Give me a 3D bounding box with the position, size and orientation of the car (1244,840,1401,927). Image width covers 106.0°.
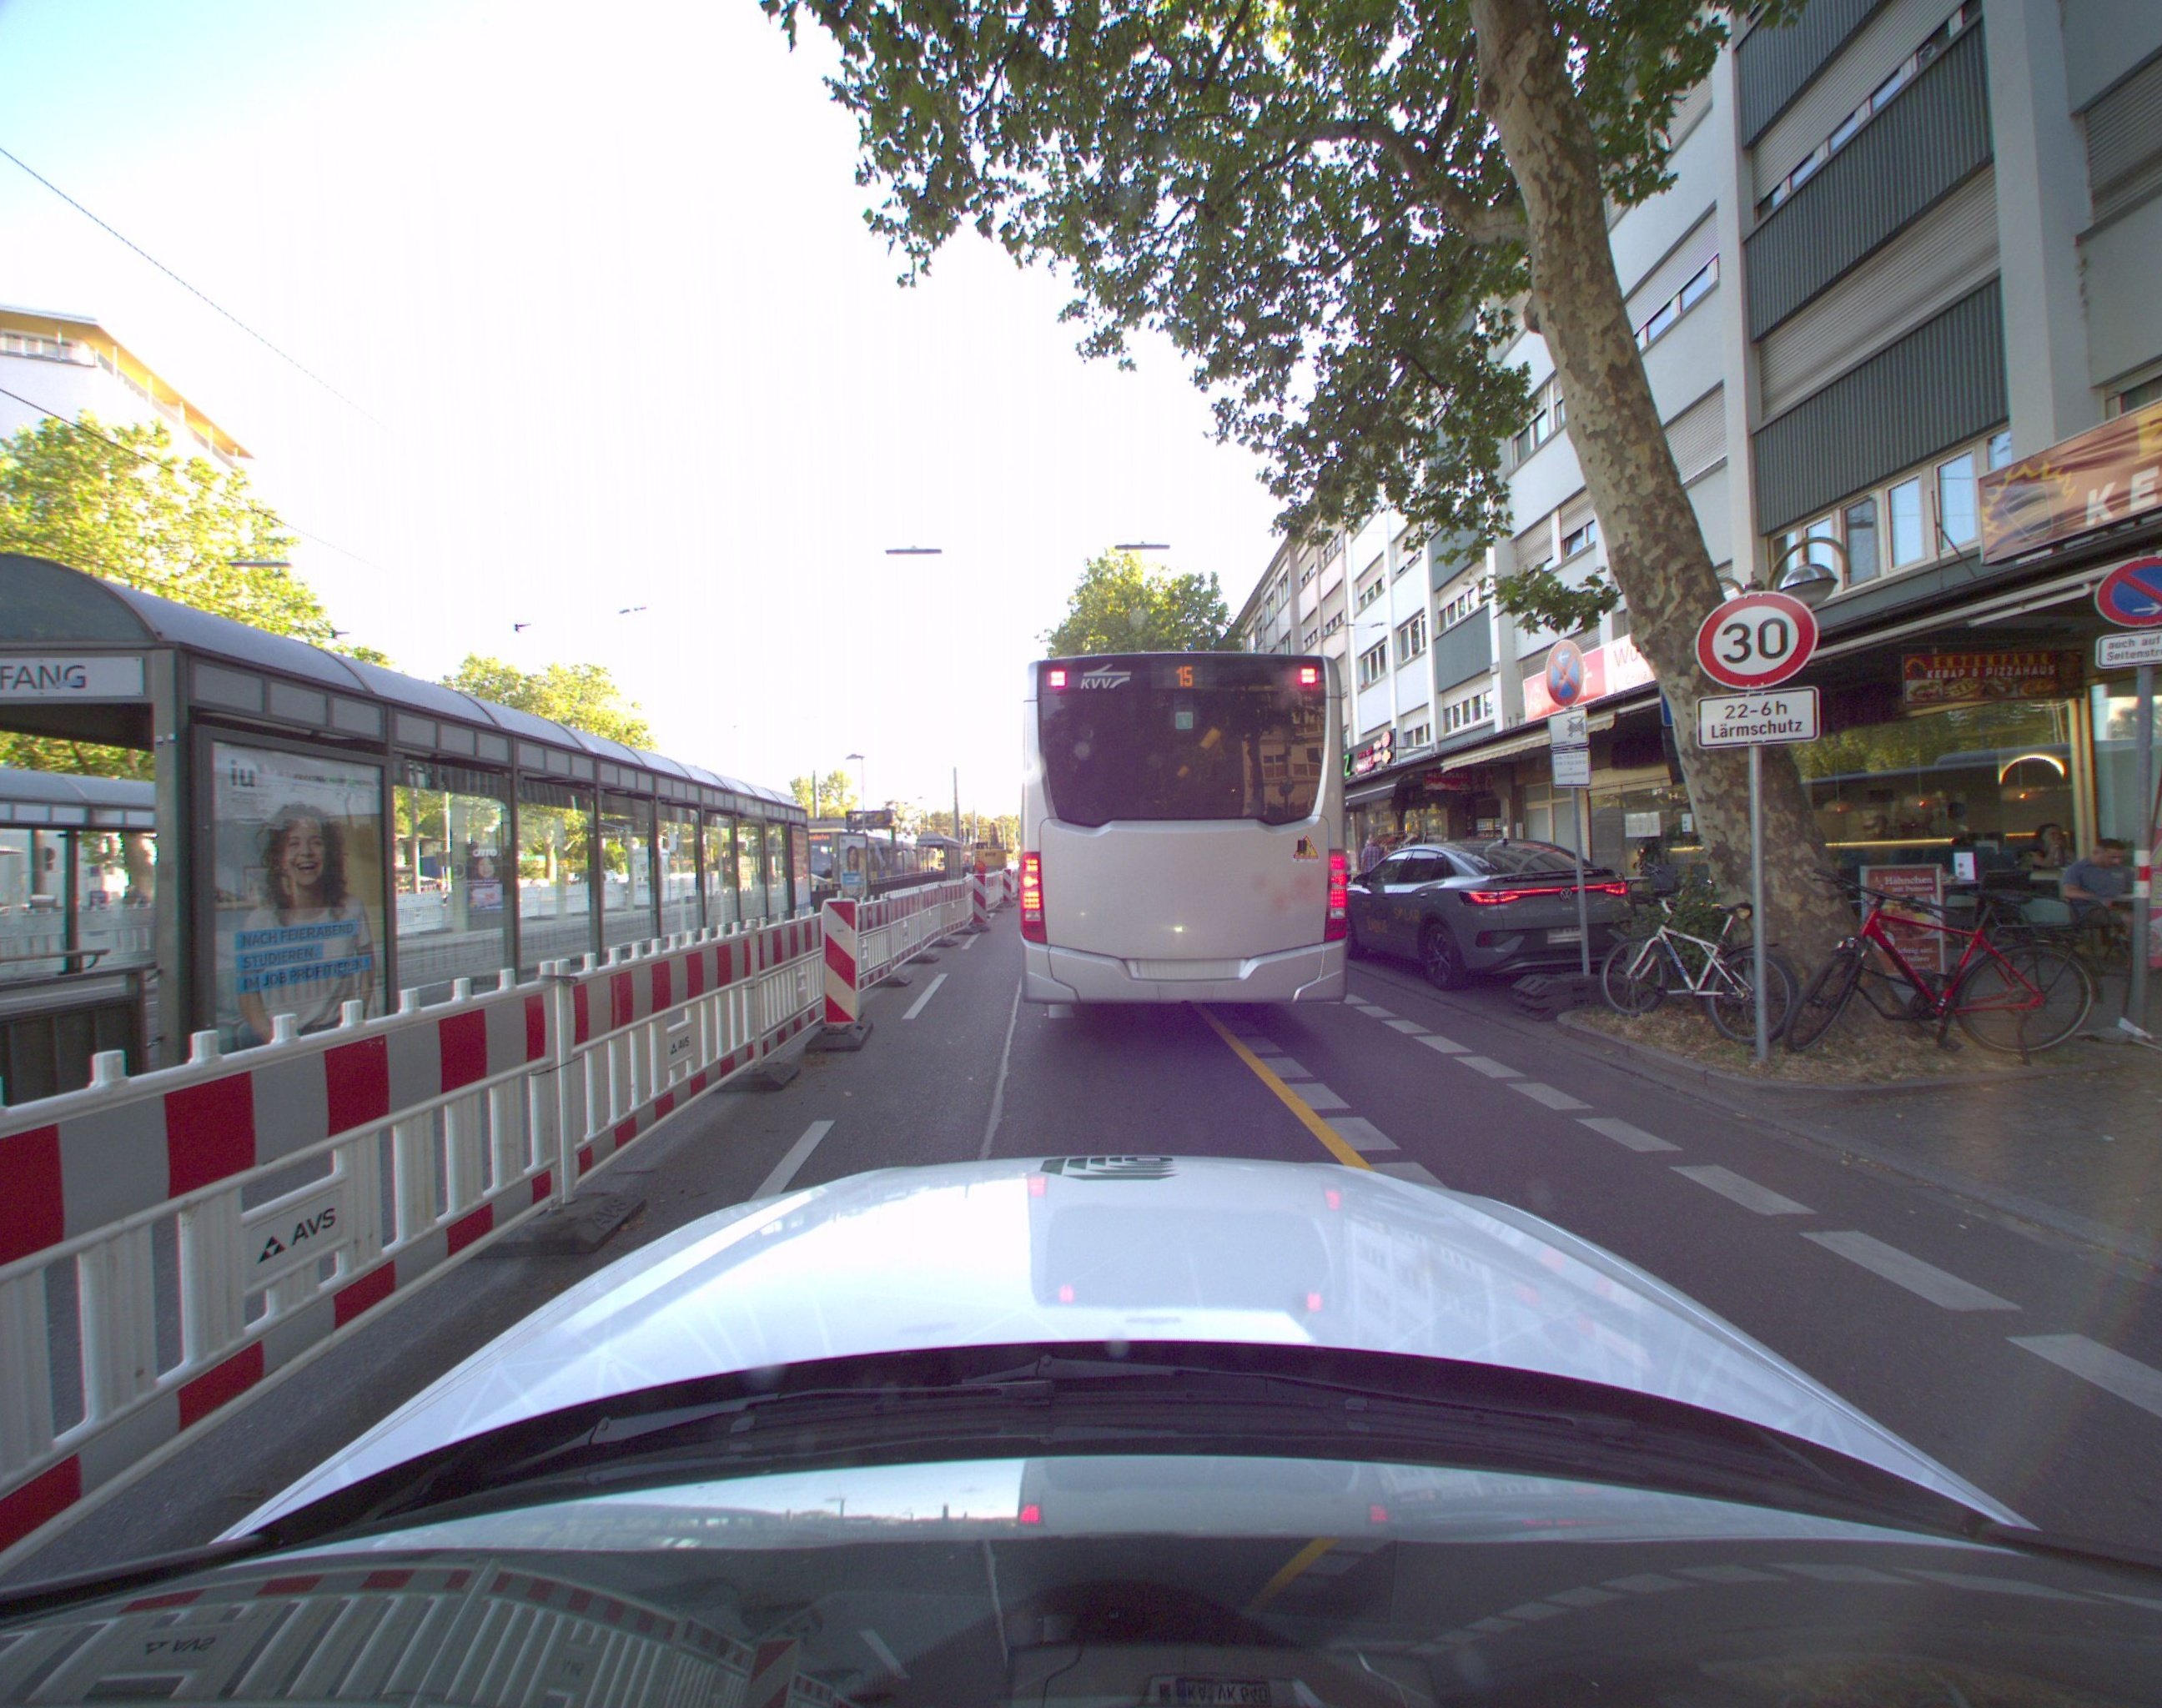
[{"bbox_3d":[5.248,0.583,18.400,1.989,1.582,4.364,-4,0,-3],"label":"car"}]

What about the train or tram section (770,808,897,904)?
[{"bbox_3d":[-10.541,0.112,36.162,2.681,3.534,11.756,0,-1,-3],"label":"train or tram section"}]

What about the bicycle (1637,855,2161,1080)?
[{"bbox_3d":[5.055,0.720,5.164,2.370,1.155,0.557,-7,-2,14],"label":"bicycle"}]

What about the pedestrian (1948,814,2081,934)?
[{"bbox_3d":[11.035,0.224,9.637,0.836,1.333,0.963,-2,-1,-39],"label":"pedestrian"}]

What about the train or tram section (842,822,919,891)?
[{"bbox_3d":[-11.479,0.163,47.781,2.682,3.558,11.559,0,-1,-5],"label":"train or tram section"}]

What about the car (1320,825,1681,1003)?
[{"bbox_3d":[4.738,0.574,10.102,1.989,1.582,4.364,-4,0,-3],"label":"car"}]

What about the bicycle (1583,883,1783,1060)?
[{"bbox_3d":[4.571,0.834,6.305,0.550,1.155,1.446,-2,-1,6],"label":"bicycle"}]

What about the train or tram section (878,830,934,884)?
[{"bbox_3d":[-12.525,0.222,59.247,2.683,3.533,11.558,0,-1,-6],"label":"train or tram section"}]

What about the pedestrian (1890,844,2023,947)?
[{"bbox_3d":[9.854,0.448,9.177,0.643,1.081,0.945,-2,-1,-39],"label":"pedestrian"}]

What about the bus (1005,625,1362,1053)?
[{"bbox_3d":[0.874,-0.090,9.960,2.601,3.126,7.996,0,0,2],"label":"bus"}]

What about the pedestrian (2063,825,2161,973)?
[{"bbox_3d":[9.547,0.380,7.315,0.555,1.245,0.692,-4,0,8],"label":"pedestrian"}]

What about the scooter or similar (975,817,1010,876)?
[{"bbox_3d":[-7.027,-0.554,65.008,2.465,4.471,5.961,-2,0,-5],"label":"scooter or similar"}]

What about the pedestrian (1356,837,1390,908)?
[{"bbox_3d":[7.122,0.442,19.908,0.658,1.666,0.603,-4,-1,18],"label":"pedestrian"}]
